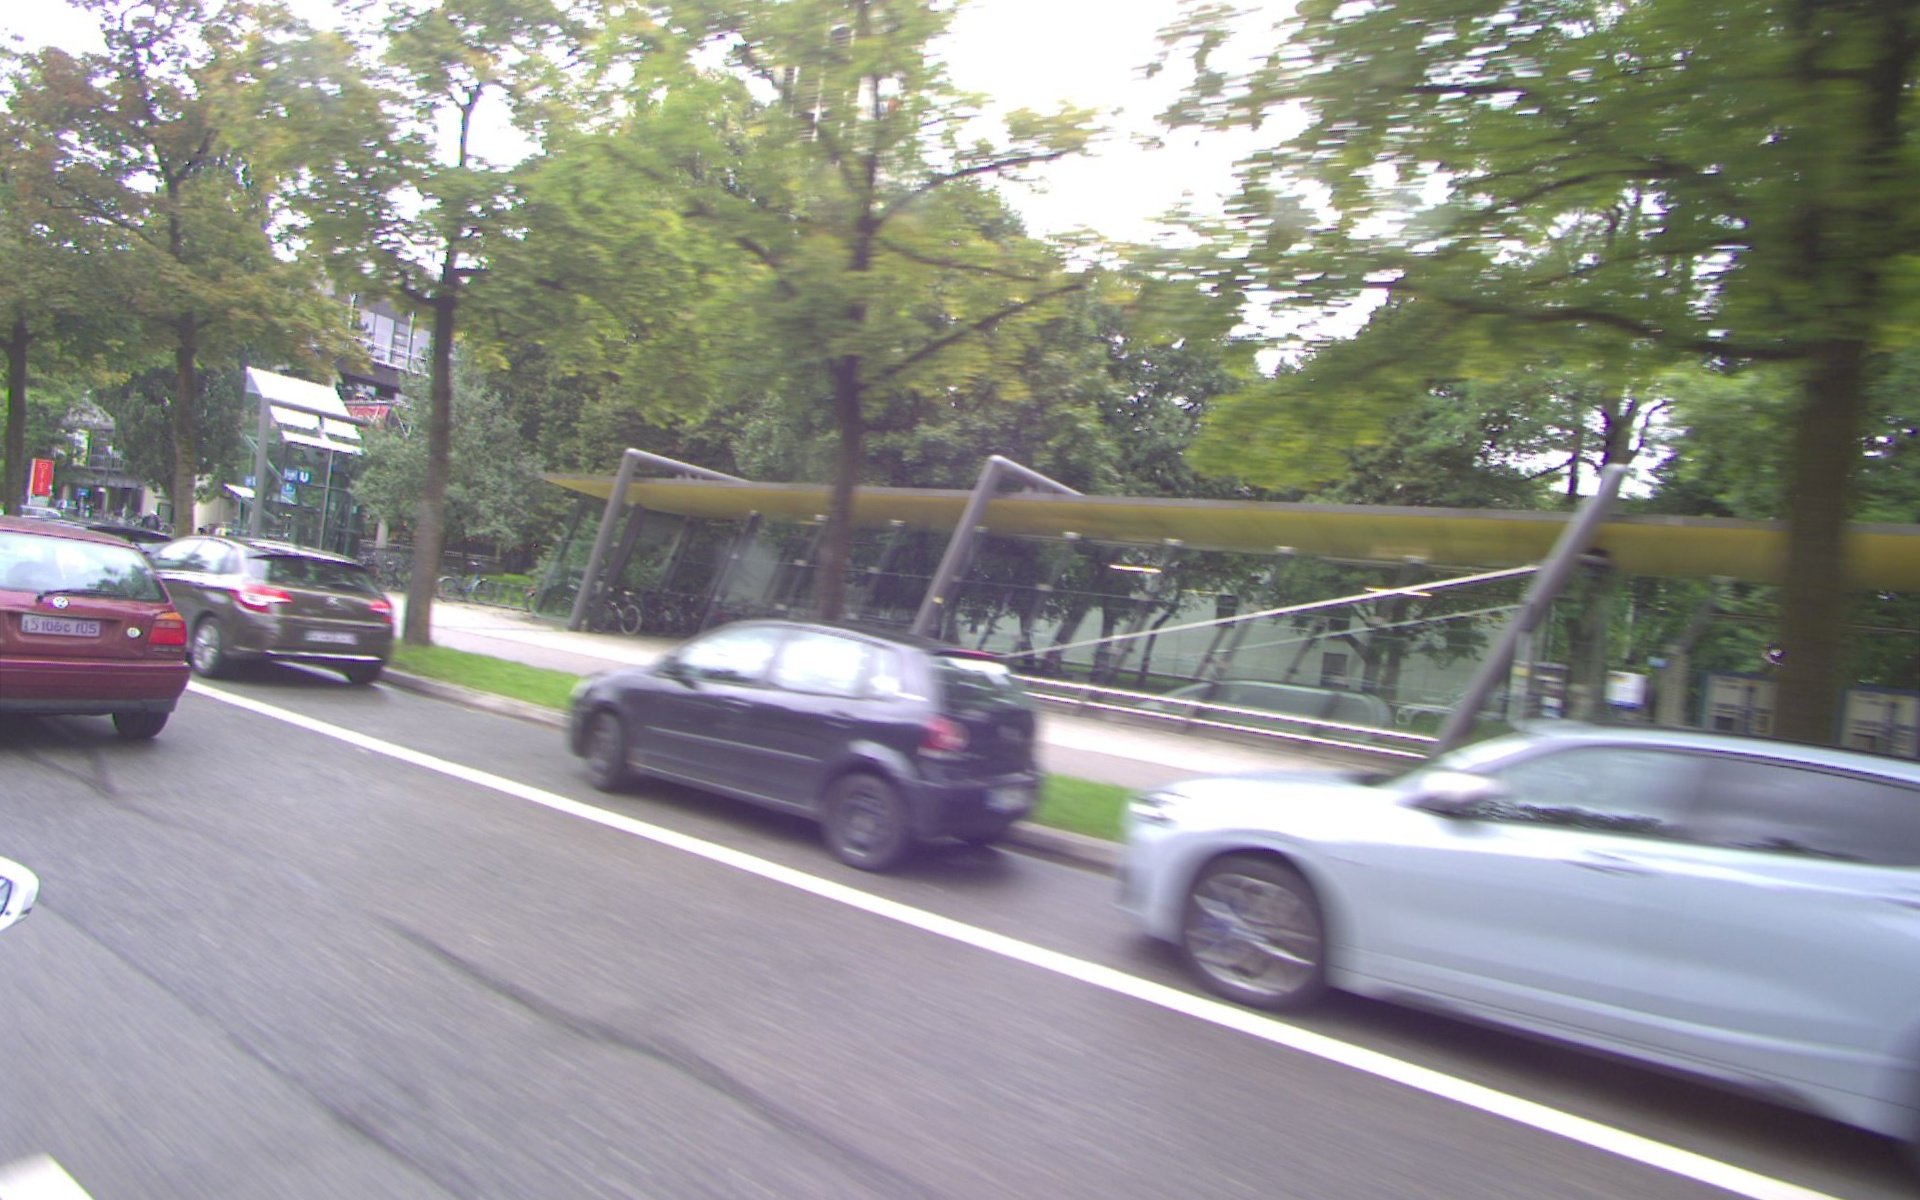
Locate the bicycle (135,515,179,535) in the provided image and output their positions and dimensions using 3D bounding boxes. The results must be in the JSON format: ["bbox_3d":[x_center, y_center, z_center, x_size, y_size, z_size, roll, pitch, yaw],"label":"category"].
[{"bbox_3d":[-52.612,-4.912,65.925,2.020,0.969,0.743,8,-1,-22],"label":"bicycle"}]

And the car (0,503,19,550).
[{"bbox_3d":[-34.616,-2.750,34.213,1.947,1.644,4.825,8,-2,-21],"label":"car"}]

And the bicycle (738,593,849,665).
[{"bbox_3d":[-3.752,0.630,22.527,2.508,1.296,0.646,7,0,32],"label":"bicycle"}]

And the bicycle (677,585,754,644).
[{"bbox_3d":[-5.946,0.391,24.639,0.483,1.296,2.552,7,-1,16],"label":"bicycle"}]

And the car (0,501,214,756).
[{"bbox_3d":[-7.075,-0.001,6.954,3.883,1.471,1.625,7,-1,31],"label":"car"}]

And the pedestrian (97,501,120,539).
[{"bbox_3d":[-42.227,-3.962,49.883,0.971,1.744,0.539,7,2,32],"label":"pedestrian"}]

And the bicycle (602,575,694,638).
[{"bbox_3d":[-7.956,0.152,25.592,2.508,1.296,0.646,7,0,32],"label":"bicycle"}]

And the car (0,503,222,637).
[{"bbox_3d":[-12.471,-0.478,14.359,4.010,1.471,1.636,7,-1,31],"label":"car"}]

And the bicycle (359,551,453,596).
[{"bbox_3d":[-17.457,-0.821,31.779,0.636,1.102,2.546,7,-1,31],"label":"bicycle"}]

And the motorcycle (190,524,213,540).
[{"bbox_3d":[-51.539,-4.605,68.330,1.545,0.876,0.852,6,-1,39],"label":"motorcycle"}]

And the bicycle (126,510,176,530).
[{"bbox_3d":[-52.087,-5.127,64.785,2.366,0.880,0.769,7,-1,-15],"label":"bicycle"}]

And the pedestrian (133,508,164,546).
[{"bbox_3d":[-40.280,-3.642,49.942,0.924,1.744,0.828,7,2,31],"label":"pedestrian"}]

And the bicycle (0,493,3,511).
[{"bbox_3d":[-81.365,-8.362,83.464,0.784,1.526,2.617,7,-1,25],"label":"bicycle"}]

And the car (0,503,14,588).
[{"bbox_3d":[-18.755,-1.210,17.883,4.232,1.456,1.636,7,-1,31],"label":"car"}]

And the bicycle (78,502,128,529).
[{"bbox_3d":[-59.823,-5.895,70.277,0.783,1.526,2.620,7,-1,10],"label":"bicycle"}]

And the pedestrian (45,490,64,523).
[{"bbox_3d":[-52.828,-5.448,58.680,0.720,1.772,0.575,7,0,36],"label":"pedestrian"}]

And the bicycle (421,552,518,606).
[{"bbox_3d":[-14.463,-0.586,29.772,0.636,1.296,2.546,7,-1,31],"label":"bicycle"}]

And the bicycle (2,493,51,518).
[{"bbox_3d":[-73.694,-7.483,79.421,0.784,1.526,2.617,7,-1,25],"label":"bicycle"}]

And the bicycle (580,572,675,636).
[{"bbox_3d":[-8.287,0.087,25.009,2.508,1.296,0.646,7,0,32],"label":"bicycle"}]

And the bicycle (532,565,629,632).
[{"bbox_3d":[-9.001,-0.046,23.815,2.508,1.296,0.646,7,0,32],"label":"bicycle"}]

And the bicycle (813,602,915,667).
[{"bbox_3d":[-2.402,0.853,25.031,2.508,1.296,0.646,7,0,32],"label":"bicycle"}]

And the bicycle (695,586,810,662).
[{"bbox_3d":[-4.430,0.492,21.328,2.508,1.296,0.646,7,0,32],"label":"bicycle"}]

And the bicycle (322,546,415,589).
[{"bbox_3d":[-19.352,-1.043,32.976,0.636,1.102,2.546,7,-1,31],"label":"bicycle"}]

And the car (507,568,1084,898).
[{"bbox_3d":[-1.323,0.787,7.401,4.022,1.553,1.545,7,-1,31],"label":"car"}]

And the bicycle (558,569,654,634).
[{"bbox_3d":[-8.611,0.017,24.417,2.508,1.296,0.646,7,0,32],"label":"bicycle"}]

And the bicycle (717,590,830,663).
[{"bbox_3d":[-4.089,0.561,21.903,2.508,1.296,0.646,7,0,32],"label":"bicycle"}]

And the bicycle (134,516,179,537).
[{"bbox_3d":[-51.040,-4.674,63.947,2.016,0.969,0.744,7,0,-15],"label":"bicycle"}]

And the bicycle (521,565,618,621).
[{"bbox_3d":[-10.836,-0.166,28.022,0.636,1.296,2.546,7,-1,31],"label":"bicycle"}]

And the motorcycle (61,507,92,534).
[{"bbox_3d":[-47.871,-4.294,54.500,2.032,1.309,0.695,7,4,31],"label":"motorcycle"}]

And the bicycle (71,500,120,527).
[{"bbox_3d":[-60.755,-6.076,70.733,0.783,1.526,2.620,7,-1,10],"label":"bicycle"}]

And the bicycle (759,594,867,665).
[{"bbox_3d":[-3.383,0.662,23.034,2.508,1.296,0.646,7,0,32],"label":"bicycle"}]

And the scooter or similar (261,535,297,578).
[{"bbox_3d":[-21.841,-1.412,32.263,1.217,1.247,0.420,7,-1,34],"label":"scooter or similar"}]

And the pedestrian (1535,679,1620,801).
[{"bbox_3d":[8.399,1.888,13.712,0.681,1.531,0.580,7,0,13],"label":"pedestrian"}]

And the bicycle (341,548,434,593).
[{"bbox_3d":[-18.350,-0.925,32.327,0.636,1.102,2.546,7,-1,31],"label":"bicycle"}]

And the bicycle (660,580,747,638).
[{"bbox_3d":[-6.973,0.232,27.265,2.508,1.296,0.605,7,0,32],"label":"bicycle"}]

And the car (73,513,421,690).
[{"bbox_3d":[-8.378,-0.017,11.733,4.153,1.526,1.720,7,-1,31],"label":"car"}]

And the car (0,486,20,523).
[{"bbox_3d":[-47.071,-4.759,48.166,3.934,1.671,1.996,7,-1,32],"label":"car"}]

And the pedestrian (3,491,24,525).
[{"bbox_3d":[-51.646,-5.012,54.881,0.720,1.772,0.575,7,0,36],"label":"pedestrian"}]

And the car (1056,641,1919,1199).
[{"bbox_3d":[2.836,1.262,4.586,4.326,1.553,1.723,7,-1,31],"label":"car"}]

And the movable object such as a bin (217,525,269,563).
[{"bbox_3d":[-31.761,-2.474,44.563,1.292,1.426,1.339,7,-1,30],"label":"movable object such as a bin"}]

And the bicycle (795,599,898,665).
[{"bbox_3d":[-2.783,0.775,24.442,2.508,1.296,0.646,7,0,32],"label":"bicycle"}]

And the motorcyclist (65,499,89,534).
[{"bbox_3d":[-47.769,-4.519,54.417,0.937,1.761,0.690,7,4,31],"label":"motorcyclist"}]

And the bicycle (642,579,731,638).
[{"bbox_3d":[-7.280,0.216,26.718,2.508,1.296,0.605,7,0,32],"label":"bicycle"}]

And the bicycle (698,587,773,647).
[{"bbox_3d":[-5.419,0.444,24.470,0.483,1.296,2.552,7,-1,16],"label":"bicycle"}]

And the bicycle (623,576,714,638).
[{"bbox_3d":[-7.594,0.170,26.154,2.508,1.296,0.646,7,0,32],"label":"bicycle"}]

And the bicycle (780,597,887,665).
[{"bbox_3d":[-2.999,0.715,23.698,2.508,1.296,0.646,7,0,32],"label":"bicycle"}]
